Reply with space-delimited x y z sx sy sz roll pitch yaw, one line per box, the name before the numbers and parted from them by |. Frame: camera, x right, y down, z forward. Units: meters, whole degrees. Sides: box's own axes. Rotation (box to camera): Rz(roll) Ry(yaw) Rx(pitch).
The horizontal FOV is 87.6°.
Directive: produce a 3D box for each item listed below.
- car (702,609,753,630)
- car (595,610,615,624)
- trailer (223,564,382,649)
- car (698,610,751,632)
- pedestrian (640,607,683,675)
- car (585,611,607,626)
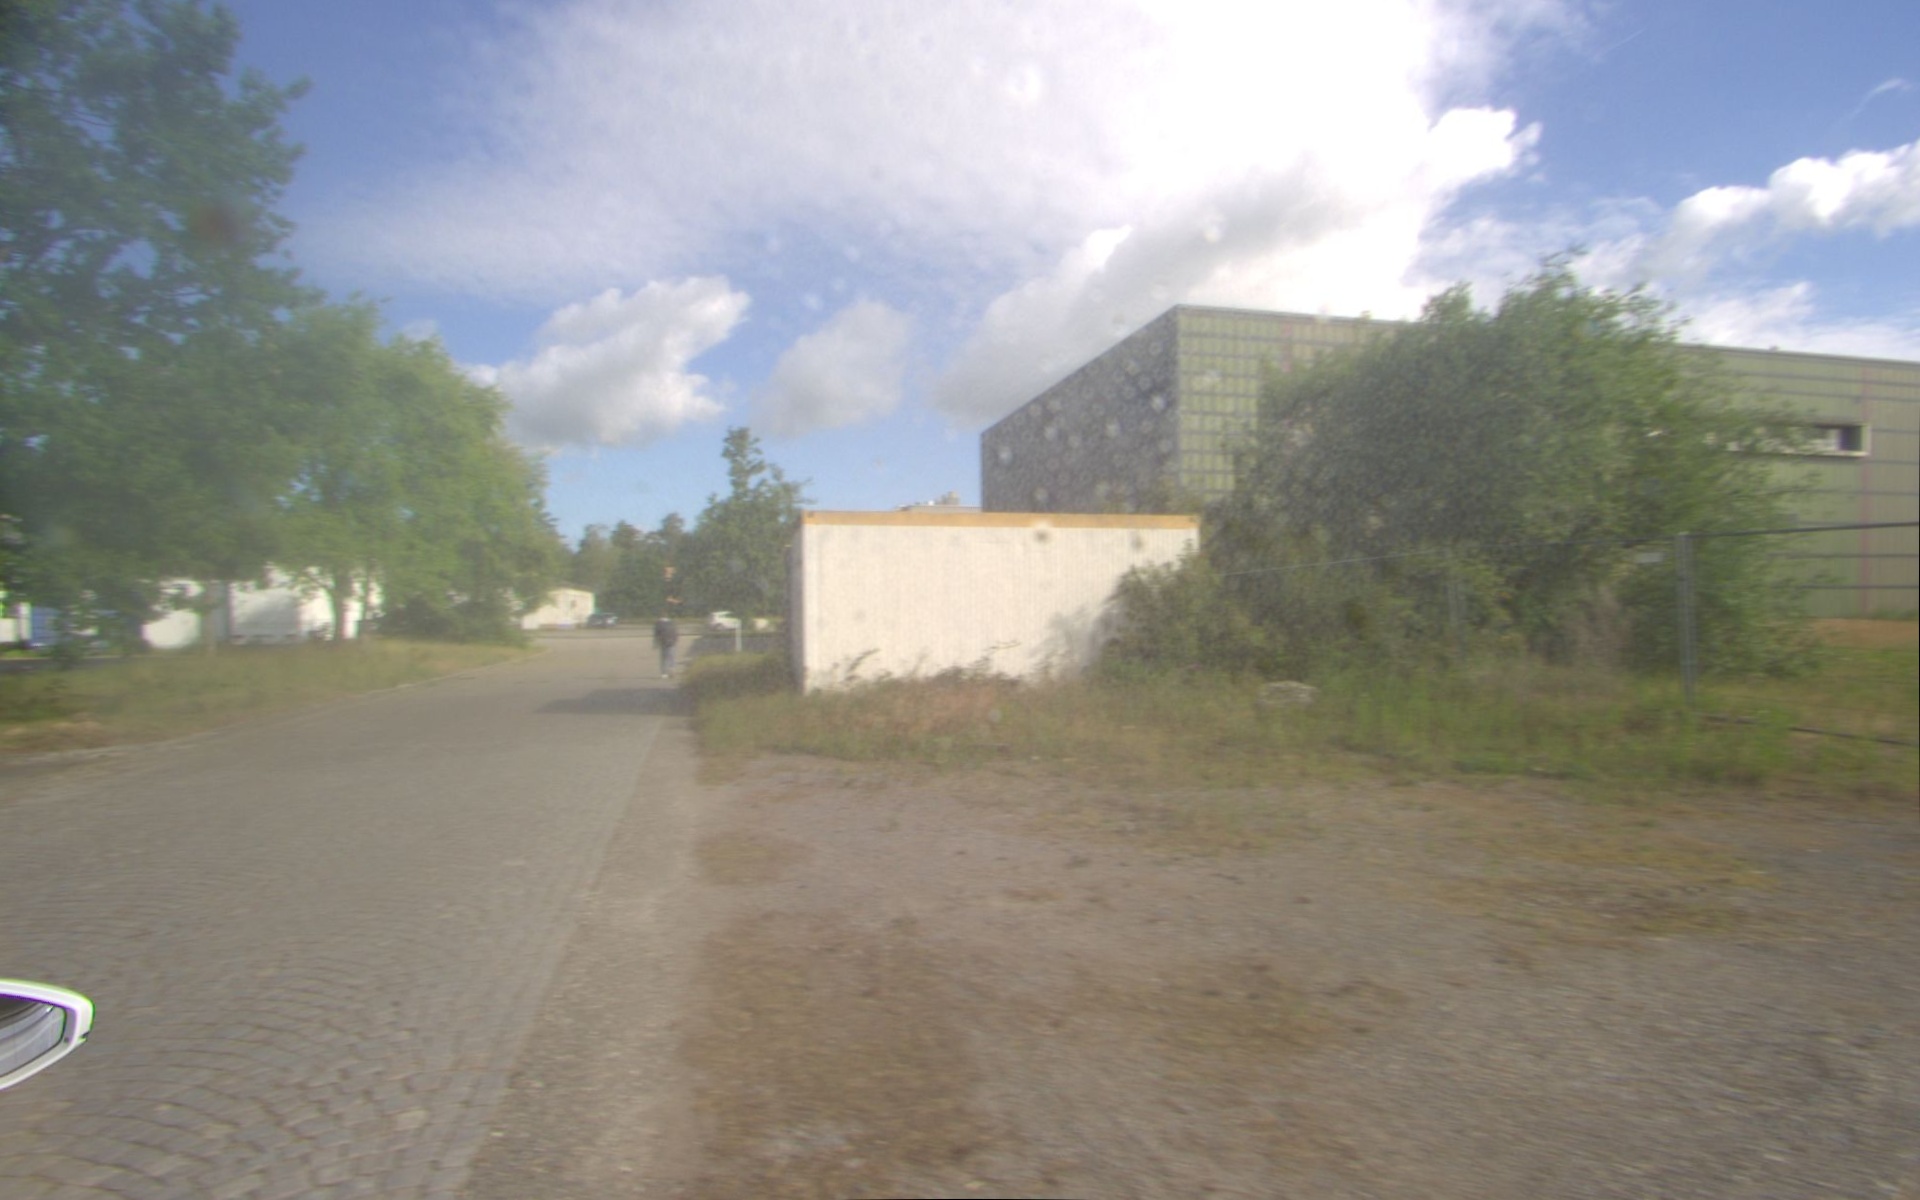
car | -18.805 1.533 81.210 3.924 1.664 1.999 0 0 -9
car | -38.529 1.829 108.725 1.966 1.394 3.989 0 0 -21
trailer | -30.301 0.308 46.763 2.872 3.517 9.890 0 0 -13
car | -18.447 1.636 78.607 3.924 1.664 1.999 0 0 -9
pedestrian | -7.139 0.972 23.959 0.851 1.579 1.027 -1 0 -10
car | -35.918 1.794 98.797 1.966 1.389 3.989 0 0 -21
